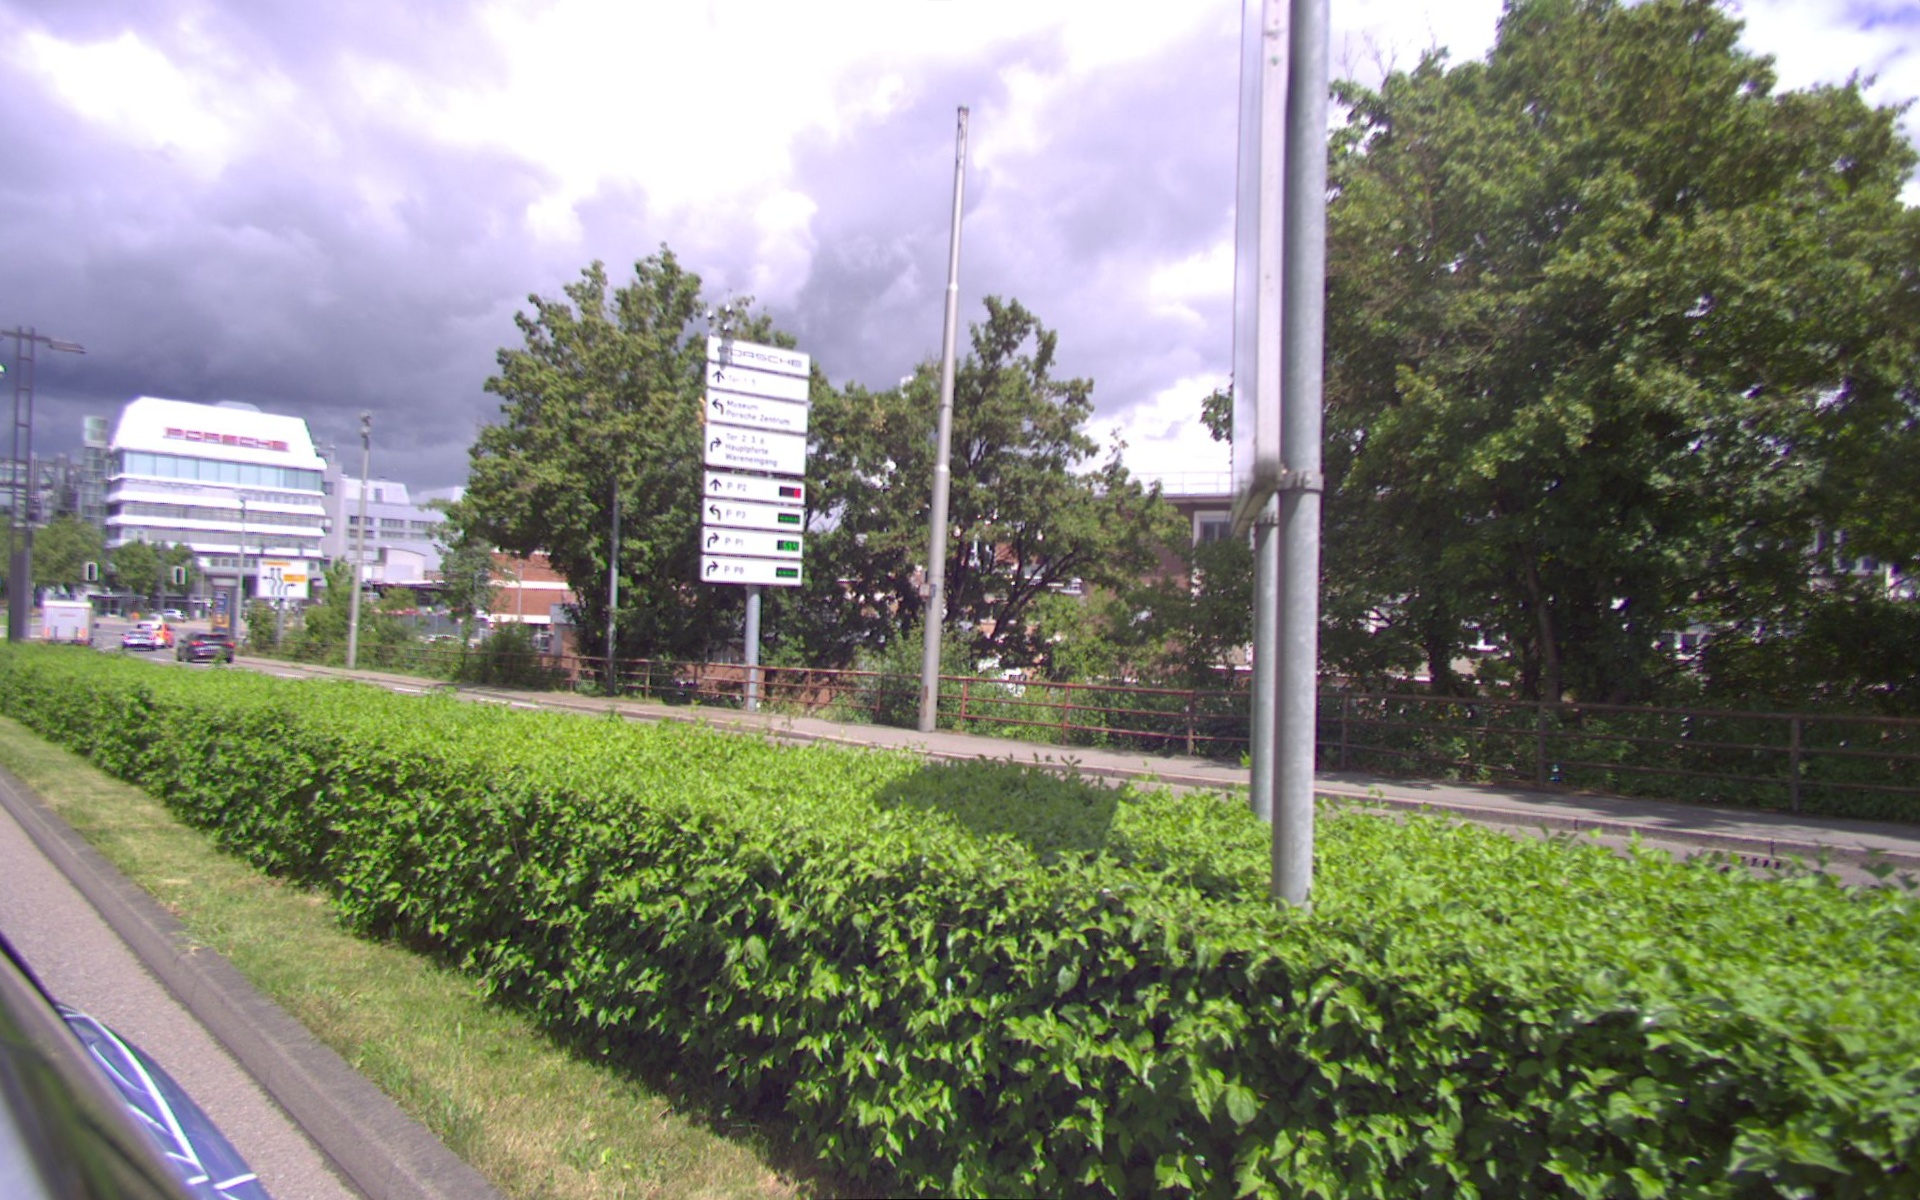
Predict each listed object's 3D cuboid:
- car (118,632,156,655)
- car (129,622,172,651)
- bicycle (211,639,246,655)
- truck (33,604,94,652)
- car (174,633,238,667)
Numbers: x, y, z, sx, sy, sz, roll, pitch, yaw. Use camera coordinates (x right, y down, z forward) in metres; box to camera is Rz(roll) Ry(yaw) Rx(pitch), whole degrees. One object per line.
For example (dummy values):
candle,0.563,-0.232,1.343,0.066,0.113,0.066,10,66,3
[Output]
car,-55.034,2.878,67.713,1.773,1.433,4.501,3,-3,-37
car,-58.741,2.635,73.497,1.966,1.973,4.641,1,-2,-33
bicycle,-54.114,3.459,74.883,2.011,1.176,0.622,2,-2,-39
truck,-59.685,1.944,67.288,2.821,2.879,9.385,2,-4,-43
car,-36.250,2.366,48.624,1.818,1.519,4.564,3,-3,-44
